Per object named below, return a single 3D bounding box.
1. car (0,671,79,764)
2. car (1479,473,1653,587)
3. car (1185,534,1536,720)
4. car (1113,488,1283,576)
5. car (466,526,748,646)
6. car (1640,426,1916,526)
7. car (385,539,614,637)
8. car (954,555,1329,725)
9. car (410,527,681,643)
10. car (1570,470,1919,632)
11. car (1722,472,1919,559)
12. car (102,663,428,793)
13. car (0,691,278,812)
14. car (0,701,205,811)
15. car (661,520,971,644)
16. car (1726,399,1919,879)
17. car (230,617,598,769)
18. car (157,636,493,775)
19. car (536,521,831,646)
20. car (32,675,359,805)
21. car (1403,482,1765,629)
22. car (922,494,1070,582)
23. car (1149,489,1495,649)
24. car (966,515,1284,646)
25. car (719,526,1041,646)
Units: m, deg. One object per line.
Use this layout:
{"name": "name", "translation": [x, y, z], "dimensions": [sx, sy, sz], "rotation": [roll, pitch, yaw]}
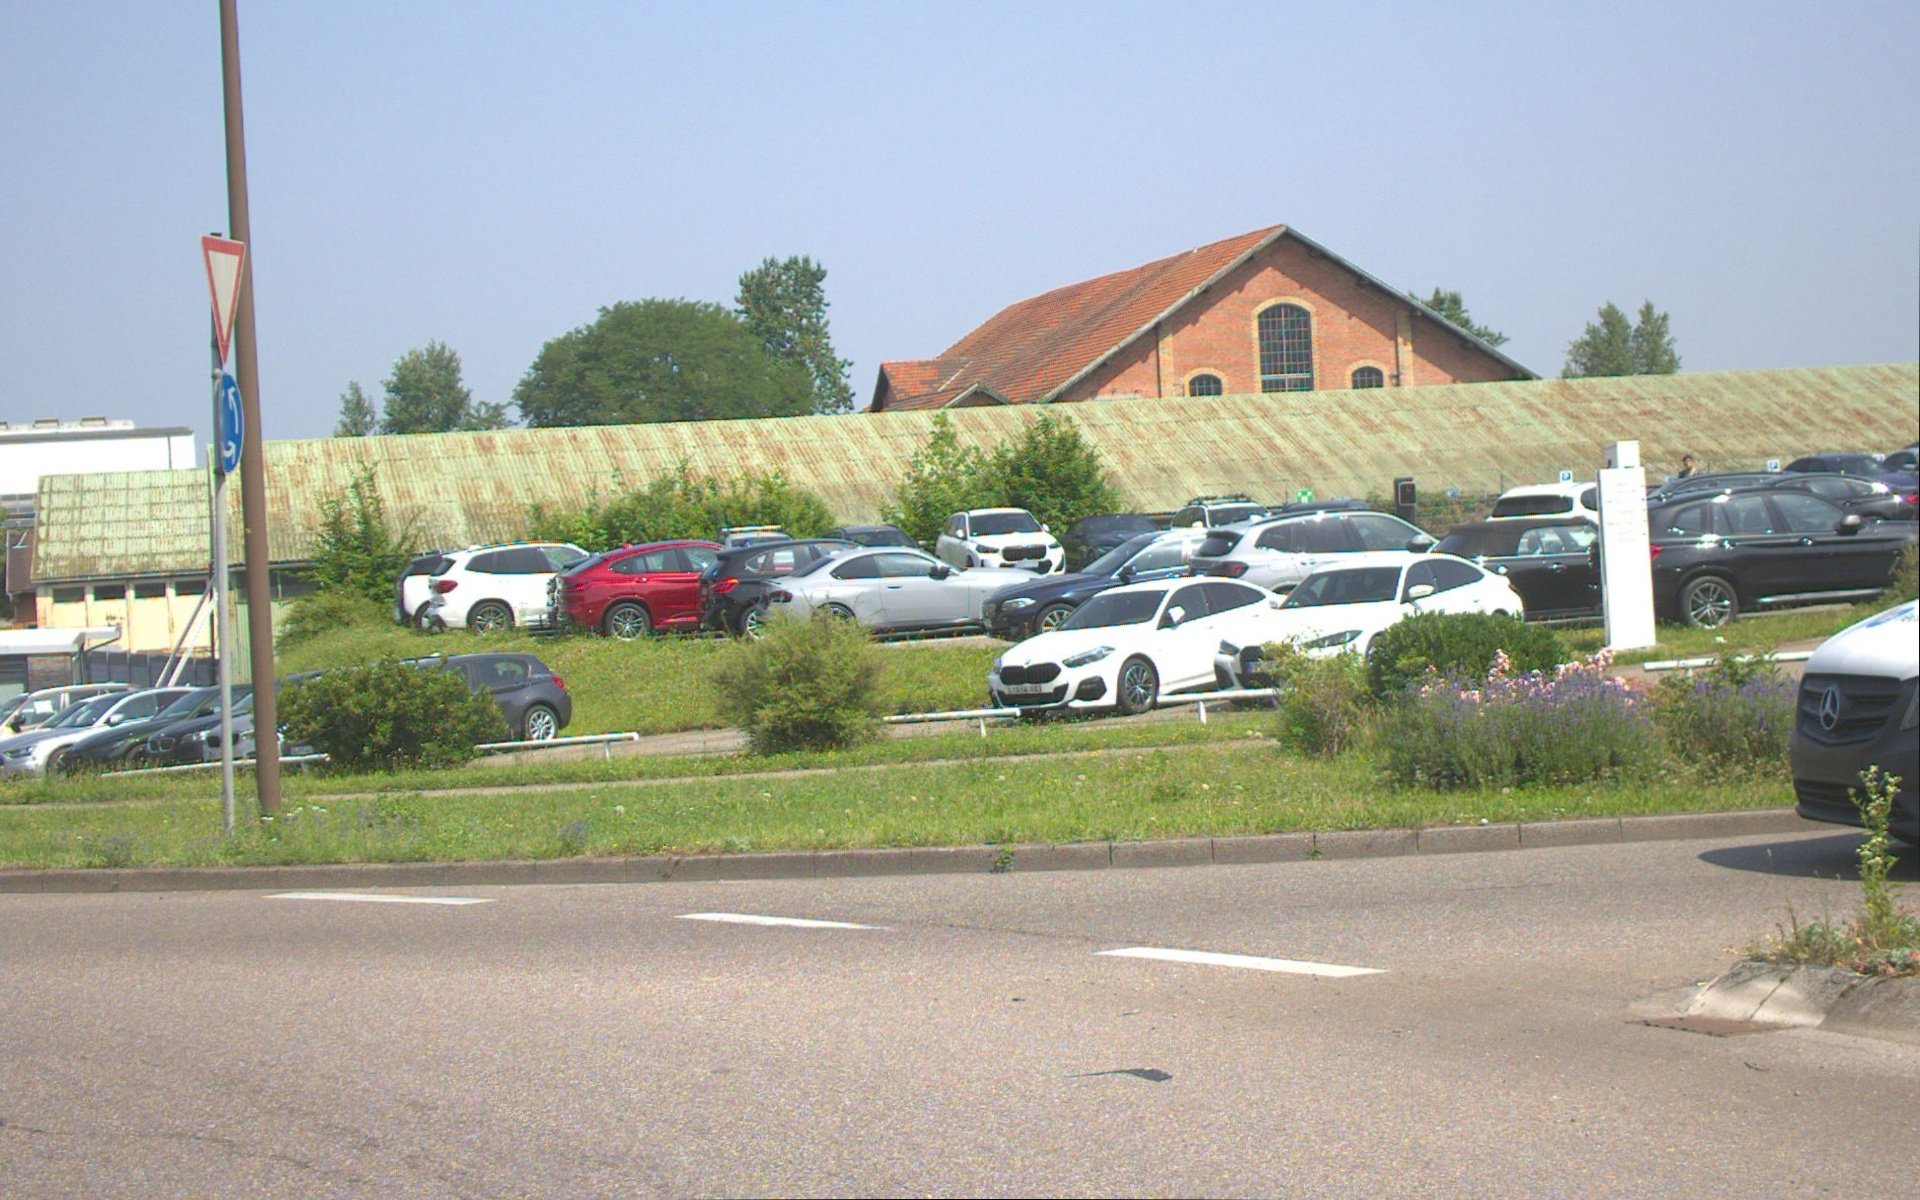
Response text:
{"name": "car", "translation": [-18.191, 2.248, 61.832], "dimensions": [3.988, 1.547, 1.999], "rotation": [-4, -1, -38]}
{"name": "car", "translation": [9.583, -1.134, 54.126], "dimensions": [1.654, 1.580, 4.264], "rotation": [-3, 2, 24]}
{"name": "car", "translation": [4.539, 0.266, 38.359], "dimensions": [1.766, 1.565, 4.657], "rotation": [-3, 3, 36]}
{"name": "car", "translation": [4.780, -1.350, 69.732], "dimensions": [2.187, 1.590, 4.305], "rotation": [-4, 1, -13]}
{"name": "car", "translation": [-6.045, -0.249, 58.696], "dimensions": [4.452, 1.741, 1.840], "rotation": [-4, 1, -15]}
{"name": "car", "translation": [14.987, -2.266, 63.086], "dimensions": [4.452, 1.517, 1.950], "rotation": [-4, 1, -10]}
{"name": "car", "translation": [-8.460, -0.221, 63.051], "dimensions": [3.874, 1.527, 1.769], "rotation": [-4, 1, -15]}
{"name": "car", "translation": [2.159, 0.432, 39.762], "dimensions": [1.766, 1.565, 4.567], "rotation": [-4, 1, 41]}
{"name": "car", "translation": [-7.349, -0.268, 60.907], "dimensions": [4.452, 1.741, 1.840], "rotation": [-4, 1, -15]}
{"name": "car", "translation": [9.735, -0.607, 40.740], "dimensions": [4.411, 1.494, 1.950], "rotation": [-6, 1, -15]}
{"name": "car", "translation": [14.633, -1.417, 57.435], "dimensions": [1.653, 1.271, 3.341], "rotation": [-5, 2, -40]}
{"name": "car", "translation": [-10.361, 1.907, 51.359], "dimensions": [4.249, 1.407, 1.922], "rotation": [-6, 0, -34]}
{"name": "car", "translation": [-13.303, 2.414, 54.816], "dimensions": [4.249, 1.460, 1.873], "rotation": [-5, -1, -34]}
{"name": "car", "translation": [-15.700, 2.760, 59.178], "dimensions": [4.768, 1.503, 1.999], "rotation": [-5, -1, -34]}
{"name": "car", "translation": [-2.281, -0.286, 54.033], "dimensions": [4.452, 1.629, 1.950], "rotation": [-4, 1, -15]}
{"name": "car", "translation": [6.255, 0.065, 15.175], "dimensions": [5.212, 1.931, 1.861], "rotation": [-2, 0, -9]}
{"name": "car", "translation": [-7.473, 1.261, 47.323], "dimensions": [4.561, 1.560, 1.921], "rotation": [-6, 0, -43]}
{"name": "car", "translation": [-9.086, 1.497, 49.402], "dimensions": [4.251, 1.477, 1.921], "rotation": [-6, 0, -43]}
{"name": "car", "translation": [-4.557, -0.281, 56.494], "dimensions": [4.452, 1.741, 1.950], "rotation": [-4, 1, -15]}
{"name": "car", "translation": [-11.769, 2.152, 53.087], "dimensions": [4.424, 1.460, 1.922], "rotation": [-6, 0, -42]}
{"name": "car", "translation": [7.917, -0.587, 43.755], "dimensions": [3.995, 1.494, 1.950], "rotation": [-5, 3, -15]}
{"name": "car", "translation": [0.674, -1.206, 68.432], "dimensions": [1.916, 1.590, 4.305], "rotation": [-4, 1, -13]}
{"name": "car", "translation": [4.756, -0.423, 45.357], "dimensions": [3.995, 1.744, 1.950], "rotation": [-5, 2, -15]}
{"name": "car", "translation": [2.248, -0.286, 47.465], "dimensions": [3.995, 1.521, 1.950], "rotation": [-4, 1, -9]}
{"name": "car", "translation": [-1.222, -0.221, 51.989], "dimensions": [4.452, 1.494, 1.950], "rotation": [-4, 1, -15]}
